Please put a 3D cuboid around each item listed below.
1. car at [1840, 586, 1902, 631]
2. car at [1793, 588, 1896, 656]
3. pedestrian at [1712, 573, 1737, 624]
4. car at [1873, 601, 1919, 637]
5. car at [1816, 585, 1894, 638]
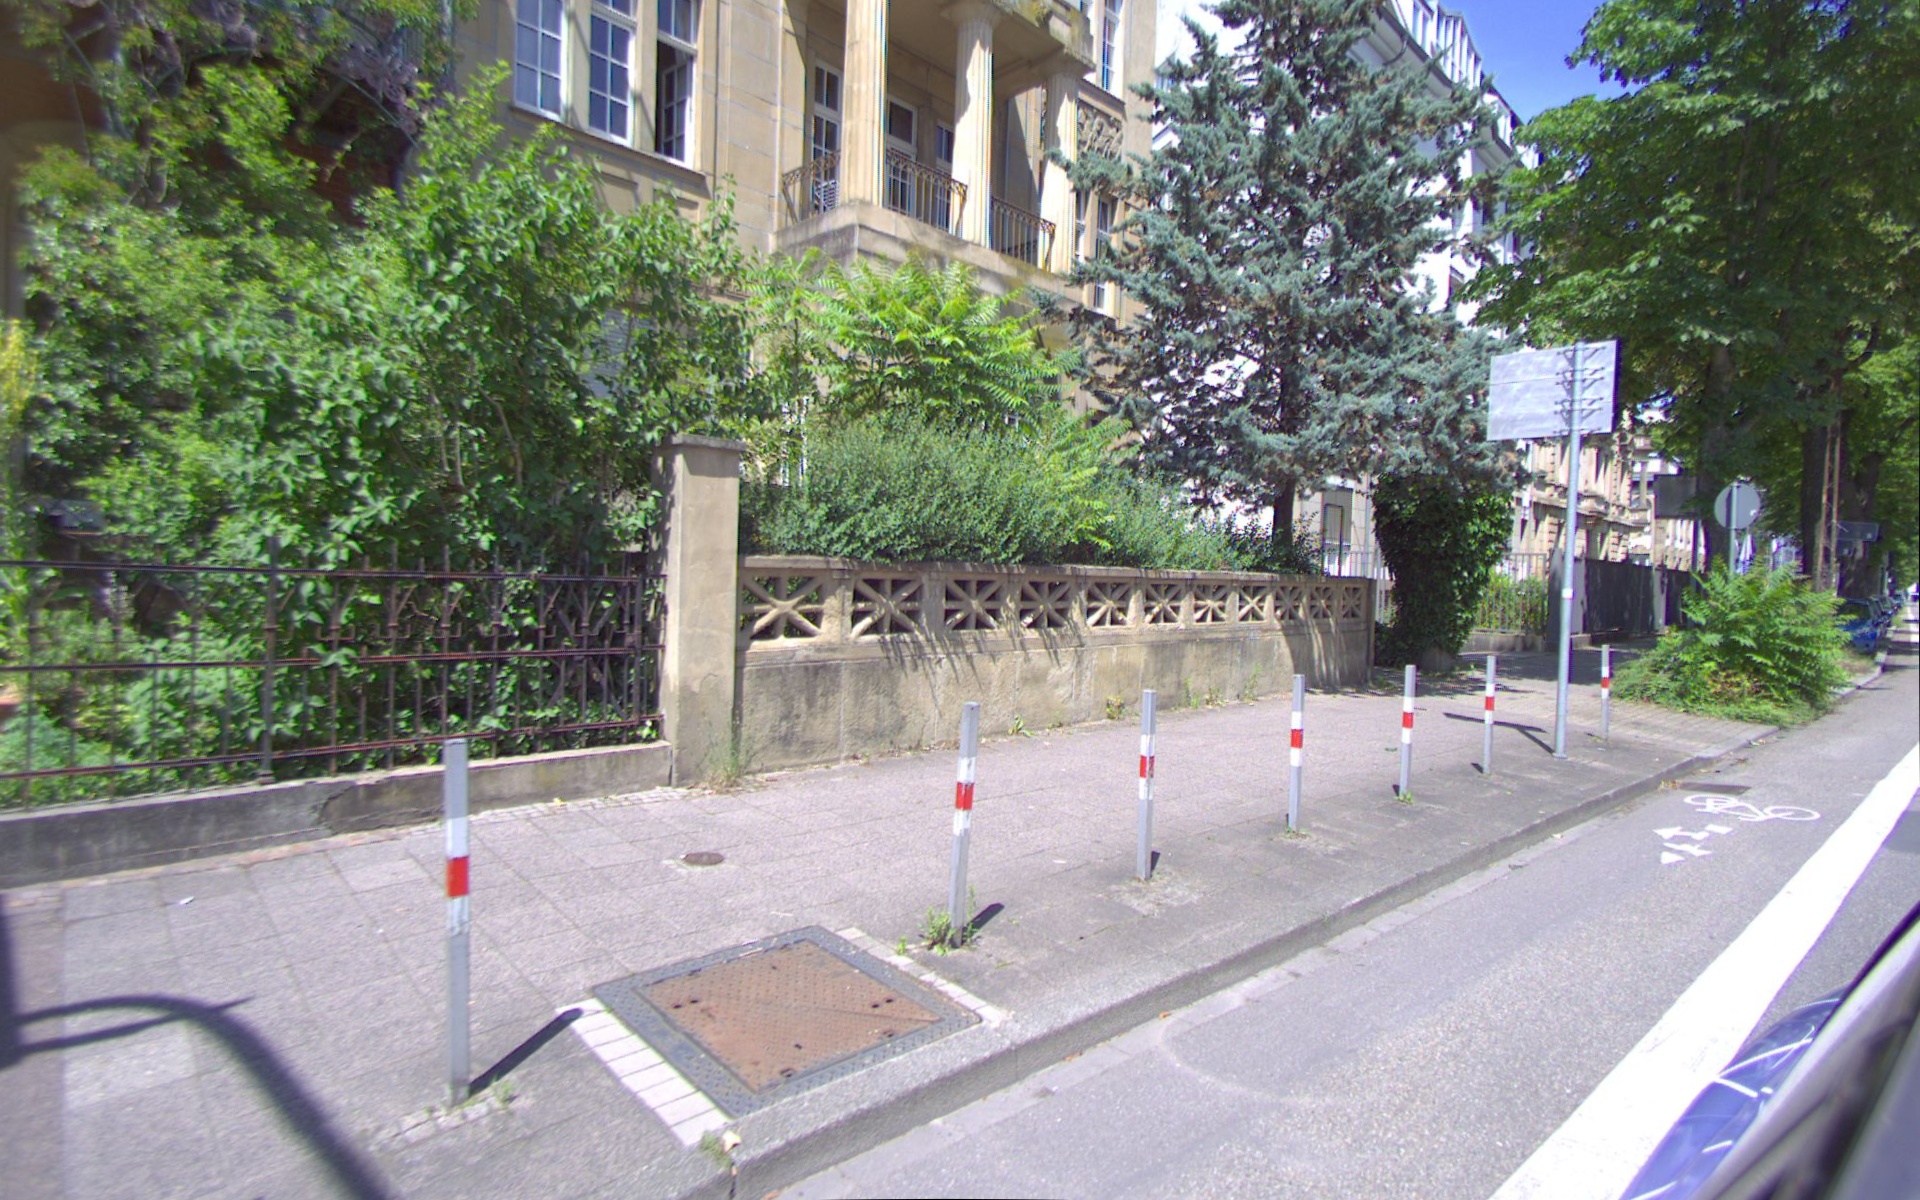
[{"bbox_3d":[34.966,0.294,38.845,1.611,1.514,3.528,5,5,43],"label":"car"},{"bbox_3d":[22.462,0.497,25.657,1.685,1.479,3.936,5,4,44],"label":"car"},{"bbox_3d":[26.183,-0.058,34.668,0.546,1.713,0.743,4,3,43],"label":"pedestrian"},{"bbox_3d":[47.463,0.942,51.300,1.644,1.616,4.051,5,3,43],"label":"car"},{"bbox_3d":[29.247,0.321,33.025,1.678,1.514,3.857,5,4,44],"label":"car"}]
